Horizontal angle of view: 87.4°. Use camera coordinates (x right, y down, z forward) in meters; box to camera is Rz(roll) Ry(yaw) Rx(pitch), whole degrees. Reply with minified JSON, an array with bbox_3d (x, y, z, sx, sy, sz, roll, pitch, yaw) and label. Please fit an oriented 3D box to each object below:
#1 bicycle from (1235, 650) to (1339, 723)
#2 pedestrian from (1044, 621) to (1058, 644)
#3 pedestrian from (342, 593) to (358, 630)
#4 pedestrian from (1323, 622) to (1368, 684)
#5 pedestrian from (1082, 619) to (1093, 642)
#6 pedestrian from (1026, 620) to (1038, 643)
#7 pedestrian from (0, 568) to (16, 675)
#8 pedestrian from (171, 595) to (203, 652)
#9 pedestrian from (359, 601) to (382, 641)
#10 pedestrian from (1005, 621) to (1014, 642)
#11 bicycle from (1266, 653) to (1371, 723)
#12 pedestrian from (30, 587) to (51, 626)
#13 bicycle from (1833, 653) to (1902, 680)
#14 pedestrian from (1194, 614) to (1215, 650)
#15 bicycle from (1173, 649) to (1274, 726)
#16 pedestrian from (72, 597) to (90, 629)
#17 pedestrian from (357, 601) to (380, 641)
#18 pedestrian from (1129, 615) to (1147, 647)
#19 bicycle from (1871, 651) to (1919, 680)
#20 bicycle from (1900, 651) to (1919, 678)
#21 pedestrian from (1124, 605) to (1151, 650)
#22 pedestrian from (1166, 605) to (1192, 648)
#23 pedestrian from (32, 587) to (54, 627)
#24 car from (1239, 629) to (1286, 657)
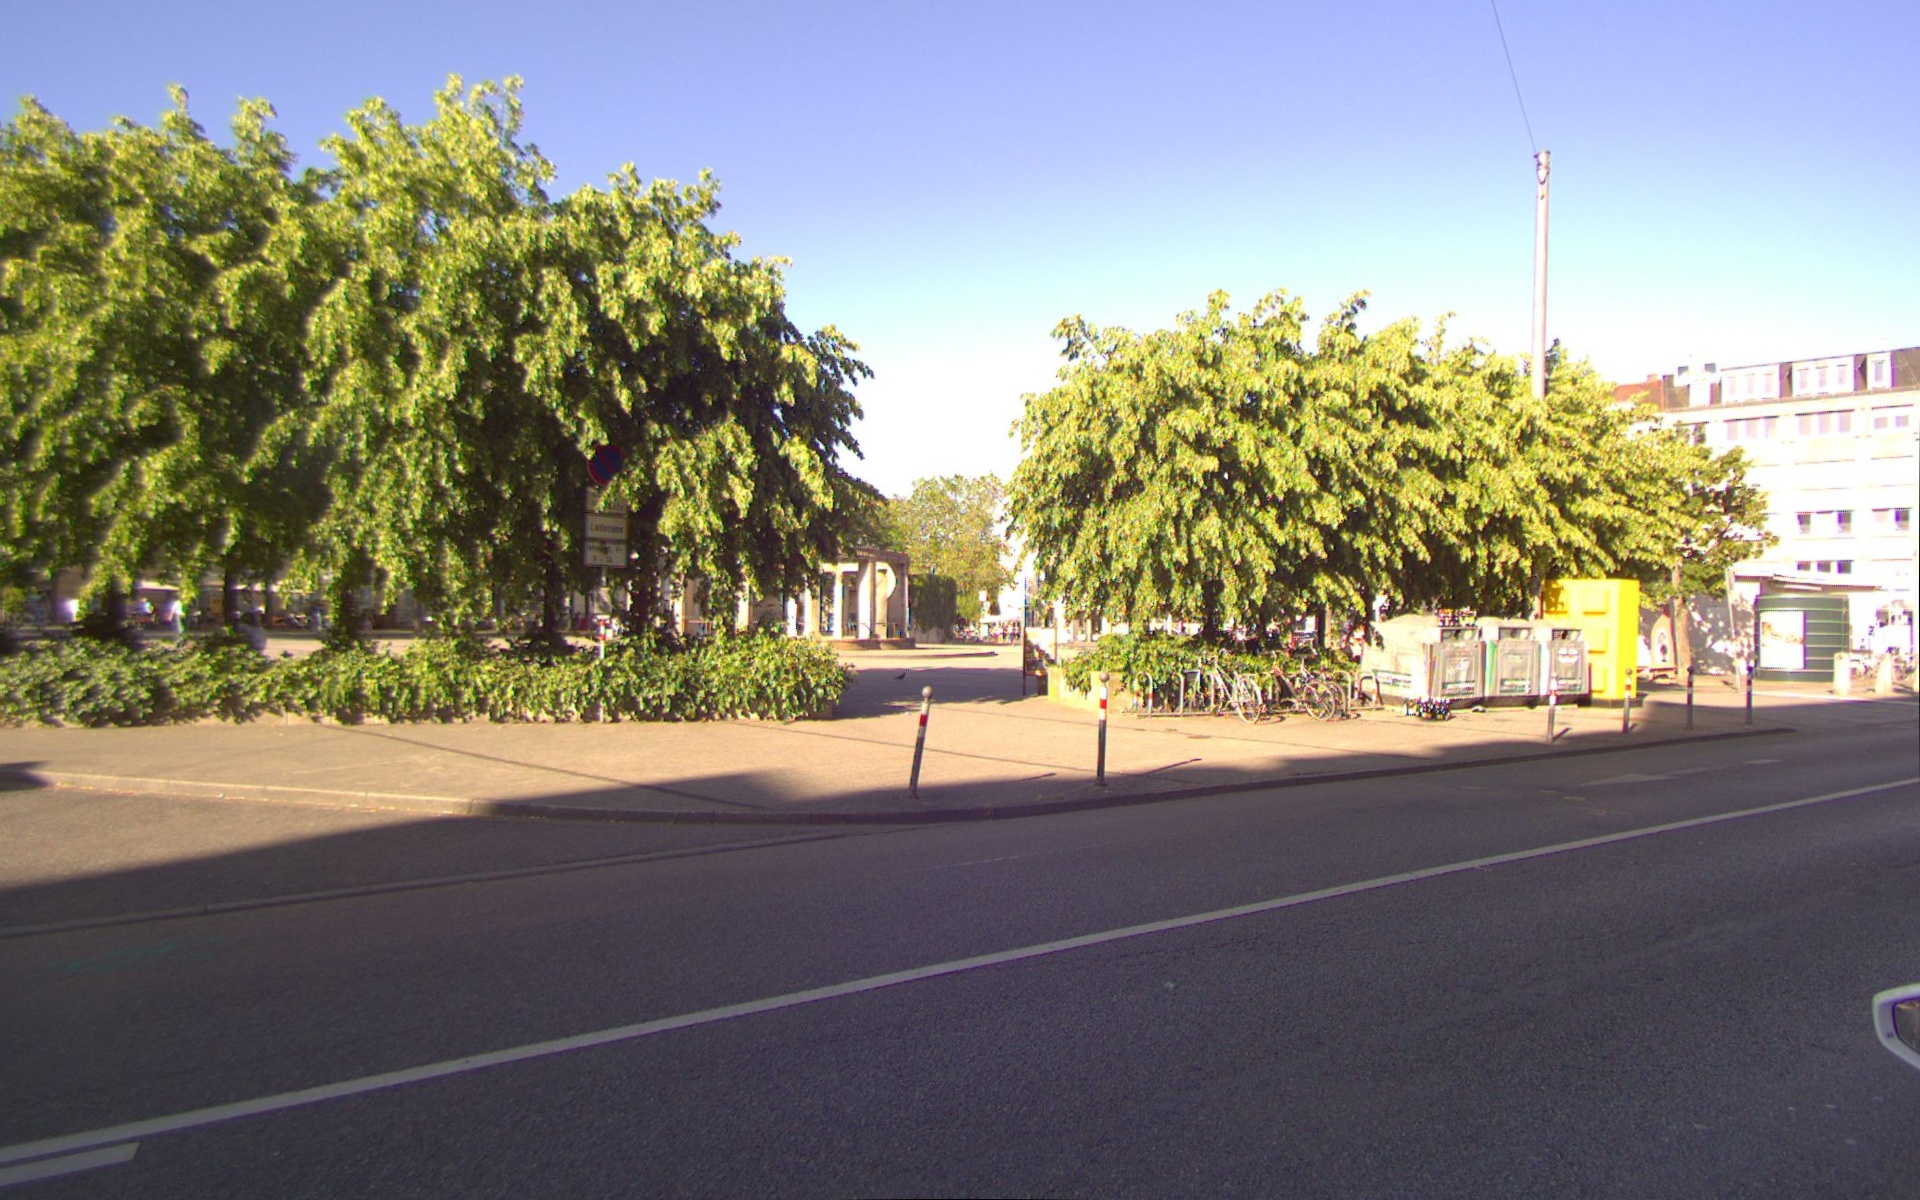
[{"bbox_3d":[5.260,1.370,16.283,0.508,1.016,1.923,2,0,-20],"label":"bicycle"},{"bbox_3d":[8.182,2.944,90.496,1.014,2.040,1.159,2,0,-5],"label":"pedestrian"},{"bbox_3d":[-33.118,0.642,54.552,0.669,1.974,0.634,2,0,-33],"label":"pedestrian"},{"bbox_3d":[12.994,1.771,33.875,0.967,2.040,1.042,2,0,-42],"label":"pedestrian"},{"bbox_3d":[12.603,3.046,99.529,0.860,2.199,0.902,2,0,-5],"label":"pedestrian"},{"bbox_3d":[6.505,2.846,90.678,0.860,2.040,0.902,2,0,-5],"label":"pedestrian"},{"bbox_3d":[-15.241,0.326,15.562,0.615,1.671,0.654,2,0,-16],"label":"pedestrian"},{"bbox_3d":[-24.223,0.731,31.482,0.599,1.744,0.644,2,0,41],"label":"pedestrian"},{"bbox_3d":[-26.087,0.933,44.479,0.598,1.744,0.645,2,0,32],"label":"pedestrian"},{"bbox_3d":[4.487,2.894,91.338,0.718,1.862,0.697,2,0,-5],"label":"pedestrian"},{"bbox_3d":[5.823,1.406,16.415,0.508,0.968,1.898,2,0,-20],"label":"bicycle"},{"bbox_3d":[-41.405,0.286,45.215,0.600,1.744,0.643,2,0,45],"label":"pedestrian"},{"bbox_3d":[30.818,2.250,34.123,0.600,0.802,1.634,2,0,-33],"label":"bicycle"},{"bbox_3d":[12.094,1.569,49.667,0.774,1.720,0.763,1,0,-6],"label":"pedestrian"},{"bbox_3d":[4.067,1.331,15.653,0.508,1.029,1.930,2,0,-19],"label":"bicycle"},{"bbox_3d":[-48.495,0.693,55.421,0.599,1.744,0.644,2,0,39],"label":"pedestrian"},{"bbox_3d":[-26.251,0.929,44.584,0.599,1.744,0.644,2,0,37],"label":"pedestrian"},{"bbox_3d":[11.581,2.027,65.455,0.873,2.040,0.898,1,-1,-9],"label":"pedestrian"},{"bbox_3d":[33.171,2.294,35.138,0.599,0.946,1.855,1,-1,-30],"label":"bicycle"},{"bbox_3d":[35.142,2.339,36.100,0.599,0.946,1.854,2,0,-30],"label":"bicycle"},{"bbox_3d":[8.186,1.264,46.403,0.875,2.040,0.896,1,-1,-17],"label":"pedestrian"},{"bbox_3d":[10.643,1.281,48.846,0.875,2.040,0.896,1,0,-17],"label":"pedestrian"},{"bbox_3d":[-40.358,0.302,44.215,0.600,1.744,0.643,2,0,45],"label":"pedestrian"},{"bbox_3d":[16.110,2.275,53.670,1.658,1.405,3.575,1,-1,5],"label":"car"}]
